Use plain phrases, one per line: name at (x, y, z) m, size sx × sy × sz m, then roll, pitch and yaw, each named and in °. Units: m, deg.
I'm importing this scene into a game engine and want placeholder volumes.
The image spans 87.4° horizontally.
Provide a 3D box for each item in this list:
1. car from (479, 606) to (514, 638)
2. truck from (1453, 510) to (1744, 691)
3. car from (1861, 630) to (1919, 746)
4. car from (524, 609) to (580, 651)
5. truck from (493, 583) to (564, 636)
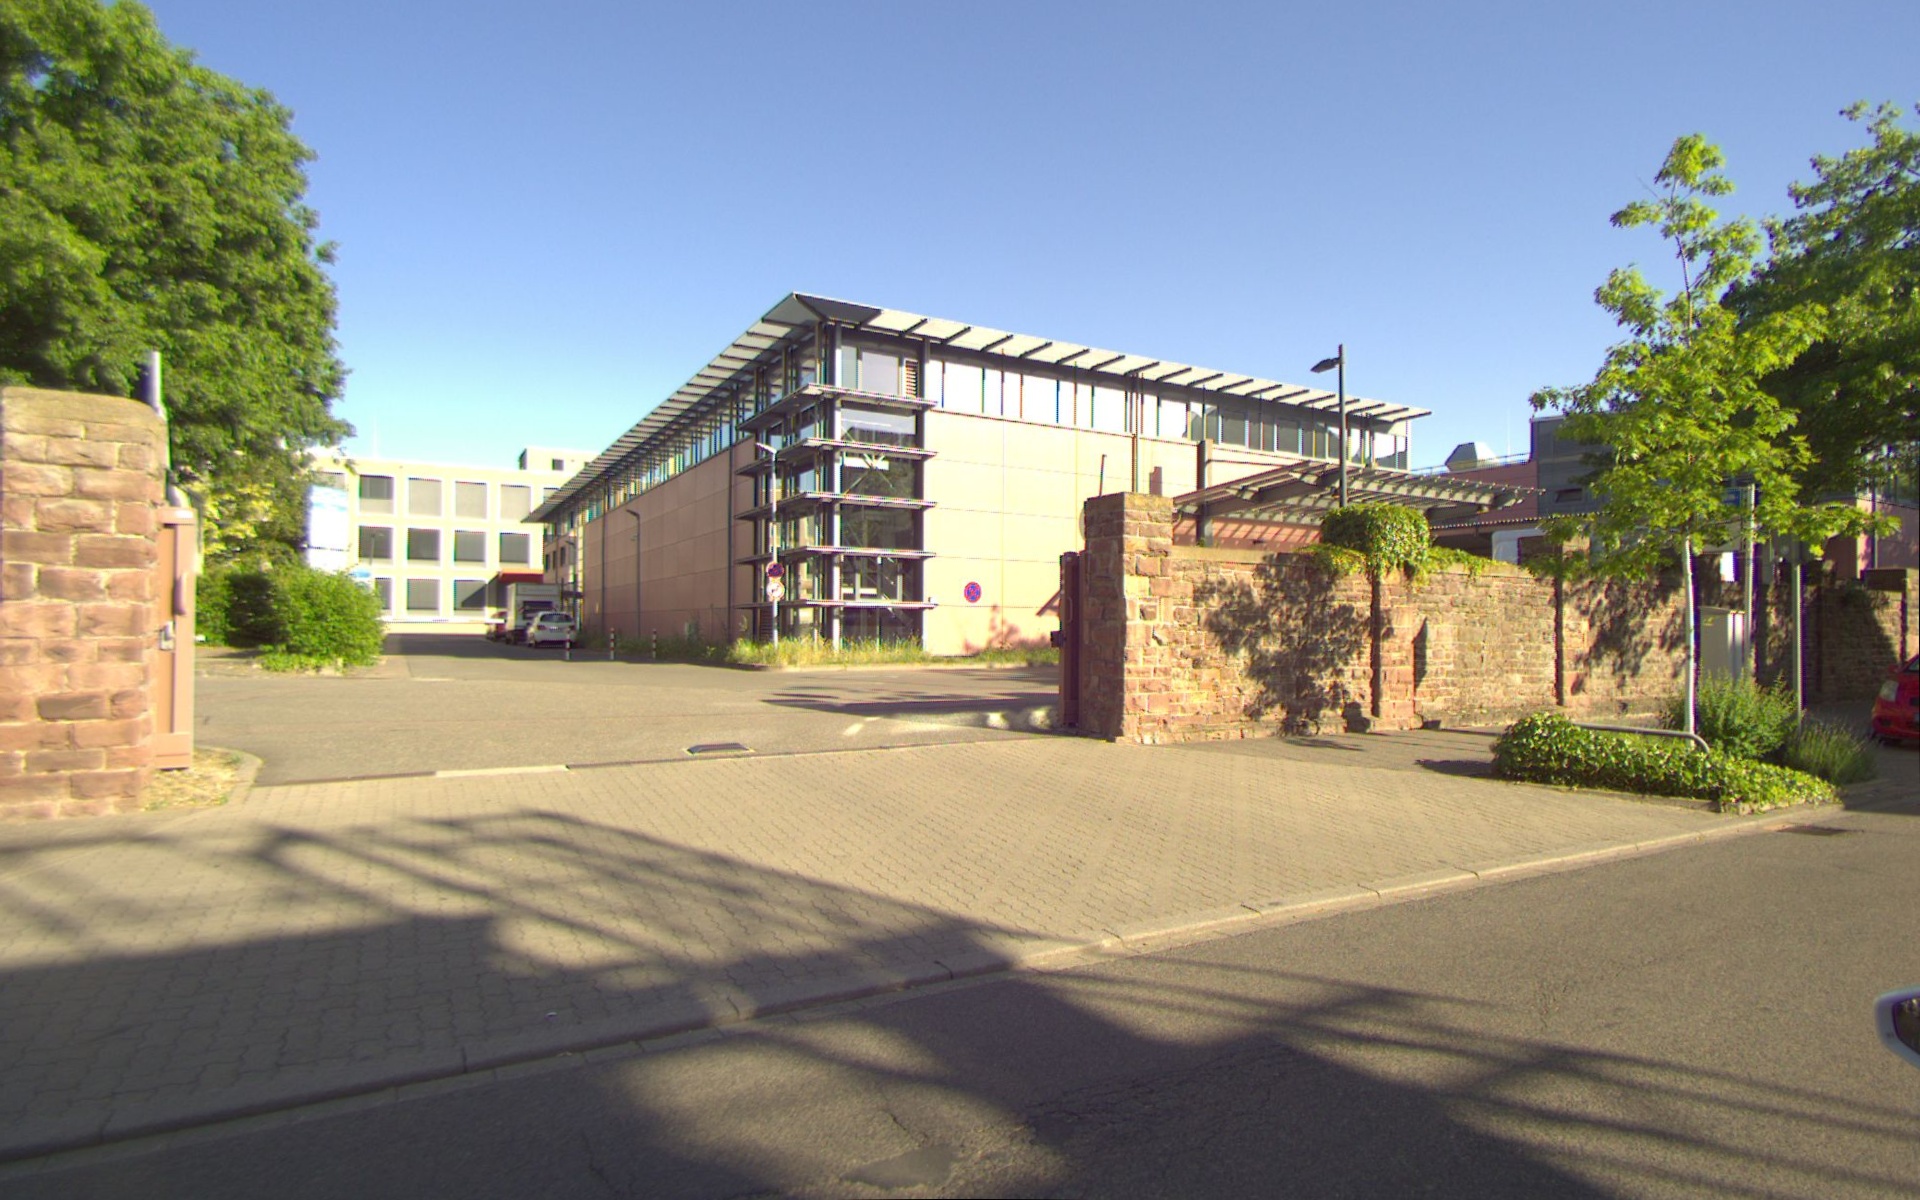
car at (-28.355, 1.307, 61.423) m, size 1.732 × 1.815 × 3.428 m, roll 1°, pitch 1°, yaw -29°
truck at (15.239, 0.062, 23.829) m, size 7.342 × 3.761 × 2.719 m, roll 1°, pitch 1°, yaw -31°
car at (14.208, 1.205, 13.833) m, size 3.664 × 1.478 × 1.601 m, roll 1°, pitch 1°, yaw -30°
car at (-17.973, 1.301, 44.209) m, size 1.795 × 1.688 × 3.620 m, roll 1°, pitch 0°, yaw -30°
truck at (-22.166, 0.447, 51.417) m, size 2.395 × 2.512 × 5.850 m, roll 1°, pitch 1°, yaw -33°
